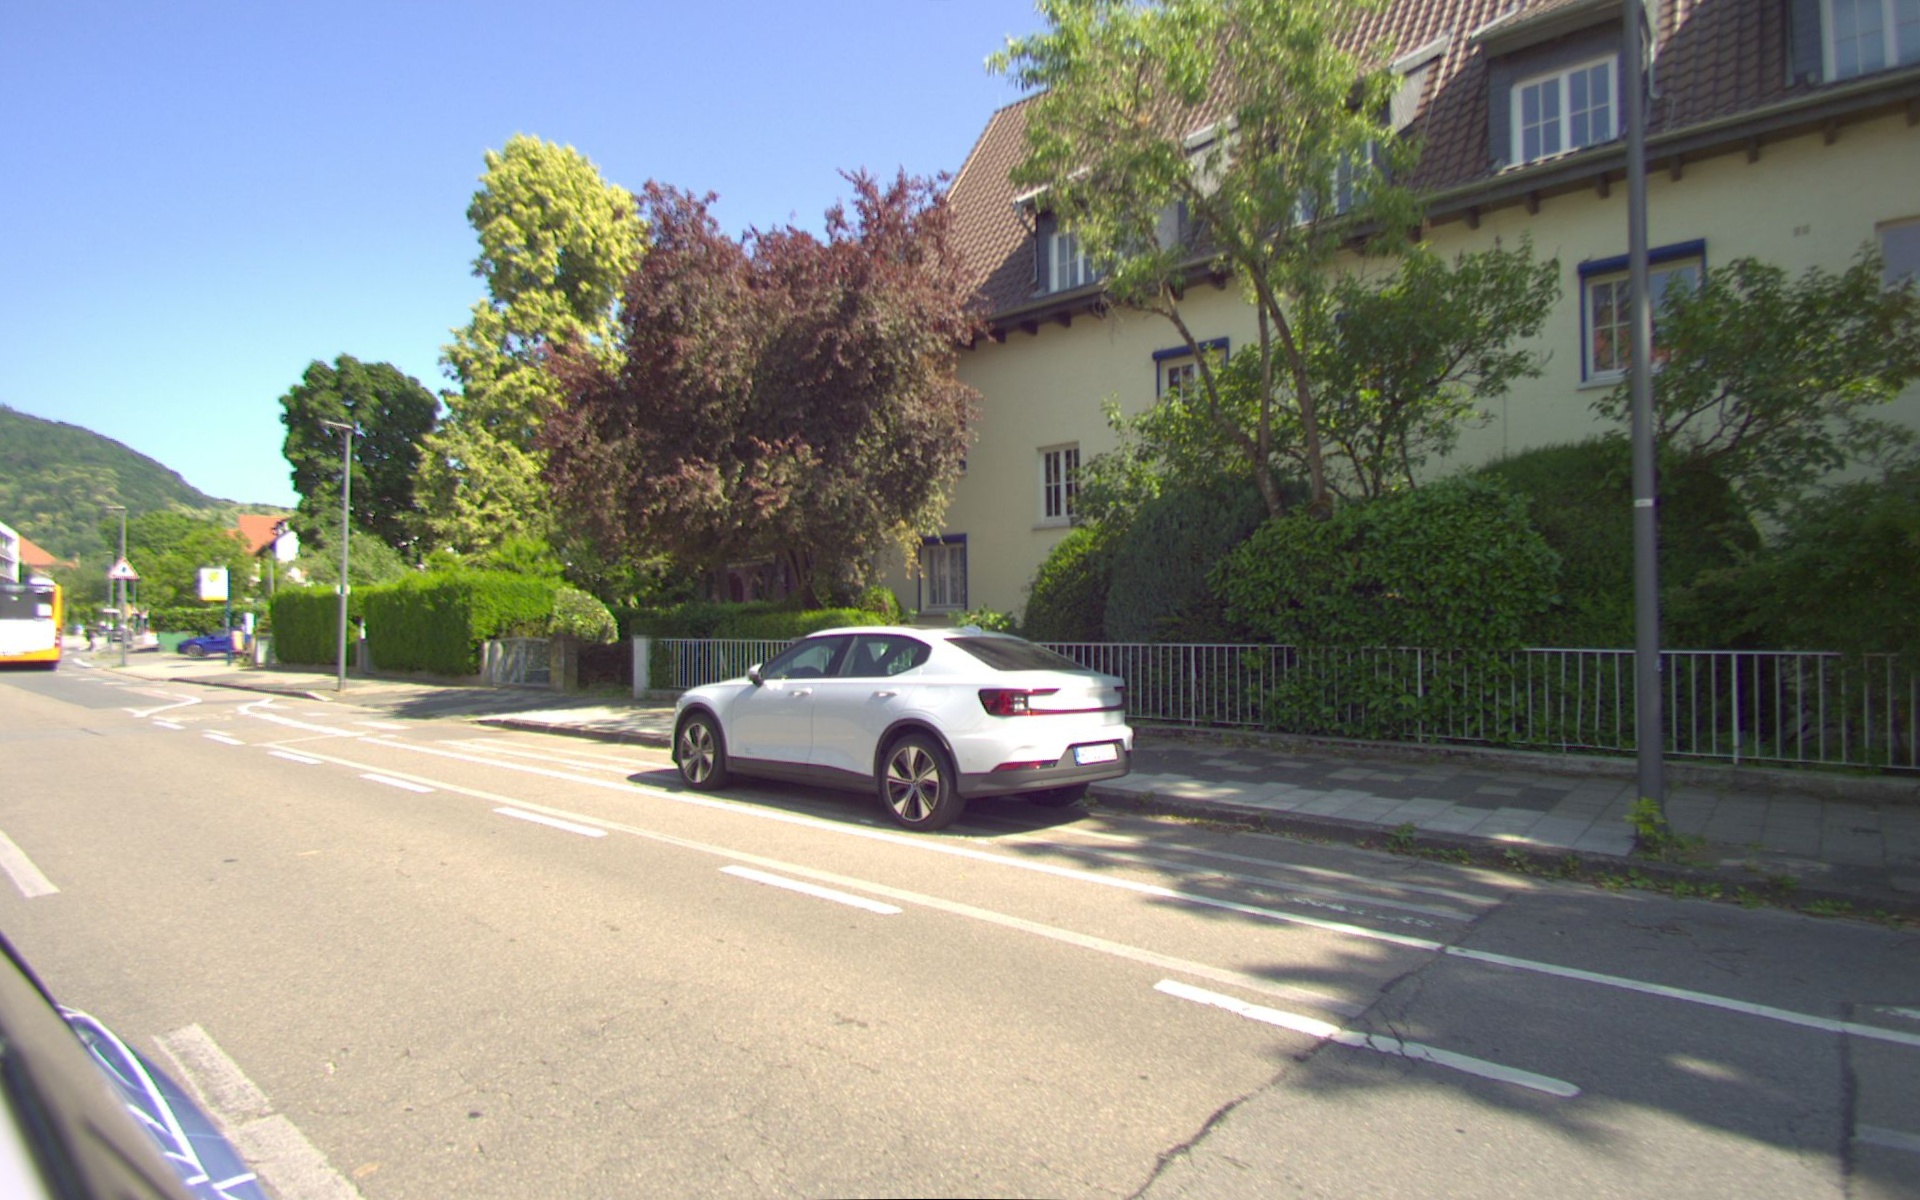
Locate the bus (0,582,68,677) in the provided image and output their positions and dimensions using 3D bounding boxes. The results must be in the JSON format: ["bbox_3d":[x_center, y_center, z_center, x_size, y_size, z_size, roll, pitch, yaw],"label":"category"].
[{"bbox_3d":[-35.552,1.129,37.727,9.782,3.199,2.714,-2,-4,45],"label":"bus"}]

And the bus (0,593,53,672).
[{"bbox_3d":[-42.366,1.464,44.762,9.782,3.199,2.714,-2,-4,45],"label":"bus"}]

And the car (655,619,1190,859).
[{"bbox_3d":[-0.538,0.959,8.542,4.561,1.497,1.813,-2,-4,42],"label":"car"}]
